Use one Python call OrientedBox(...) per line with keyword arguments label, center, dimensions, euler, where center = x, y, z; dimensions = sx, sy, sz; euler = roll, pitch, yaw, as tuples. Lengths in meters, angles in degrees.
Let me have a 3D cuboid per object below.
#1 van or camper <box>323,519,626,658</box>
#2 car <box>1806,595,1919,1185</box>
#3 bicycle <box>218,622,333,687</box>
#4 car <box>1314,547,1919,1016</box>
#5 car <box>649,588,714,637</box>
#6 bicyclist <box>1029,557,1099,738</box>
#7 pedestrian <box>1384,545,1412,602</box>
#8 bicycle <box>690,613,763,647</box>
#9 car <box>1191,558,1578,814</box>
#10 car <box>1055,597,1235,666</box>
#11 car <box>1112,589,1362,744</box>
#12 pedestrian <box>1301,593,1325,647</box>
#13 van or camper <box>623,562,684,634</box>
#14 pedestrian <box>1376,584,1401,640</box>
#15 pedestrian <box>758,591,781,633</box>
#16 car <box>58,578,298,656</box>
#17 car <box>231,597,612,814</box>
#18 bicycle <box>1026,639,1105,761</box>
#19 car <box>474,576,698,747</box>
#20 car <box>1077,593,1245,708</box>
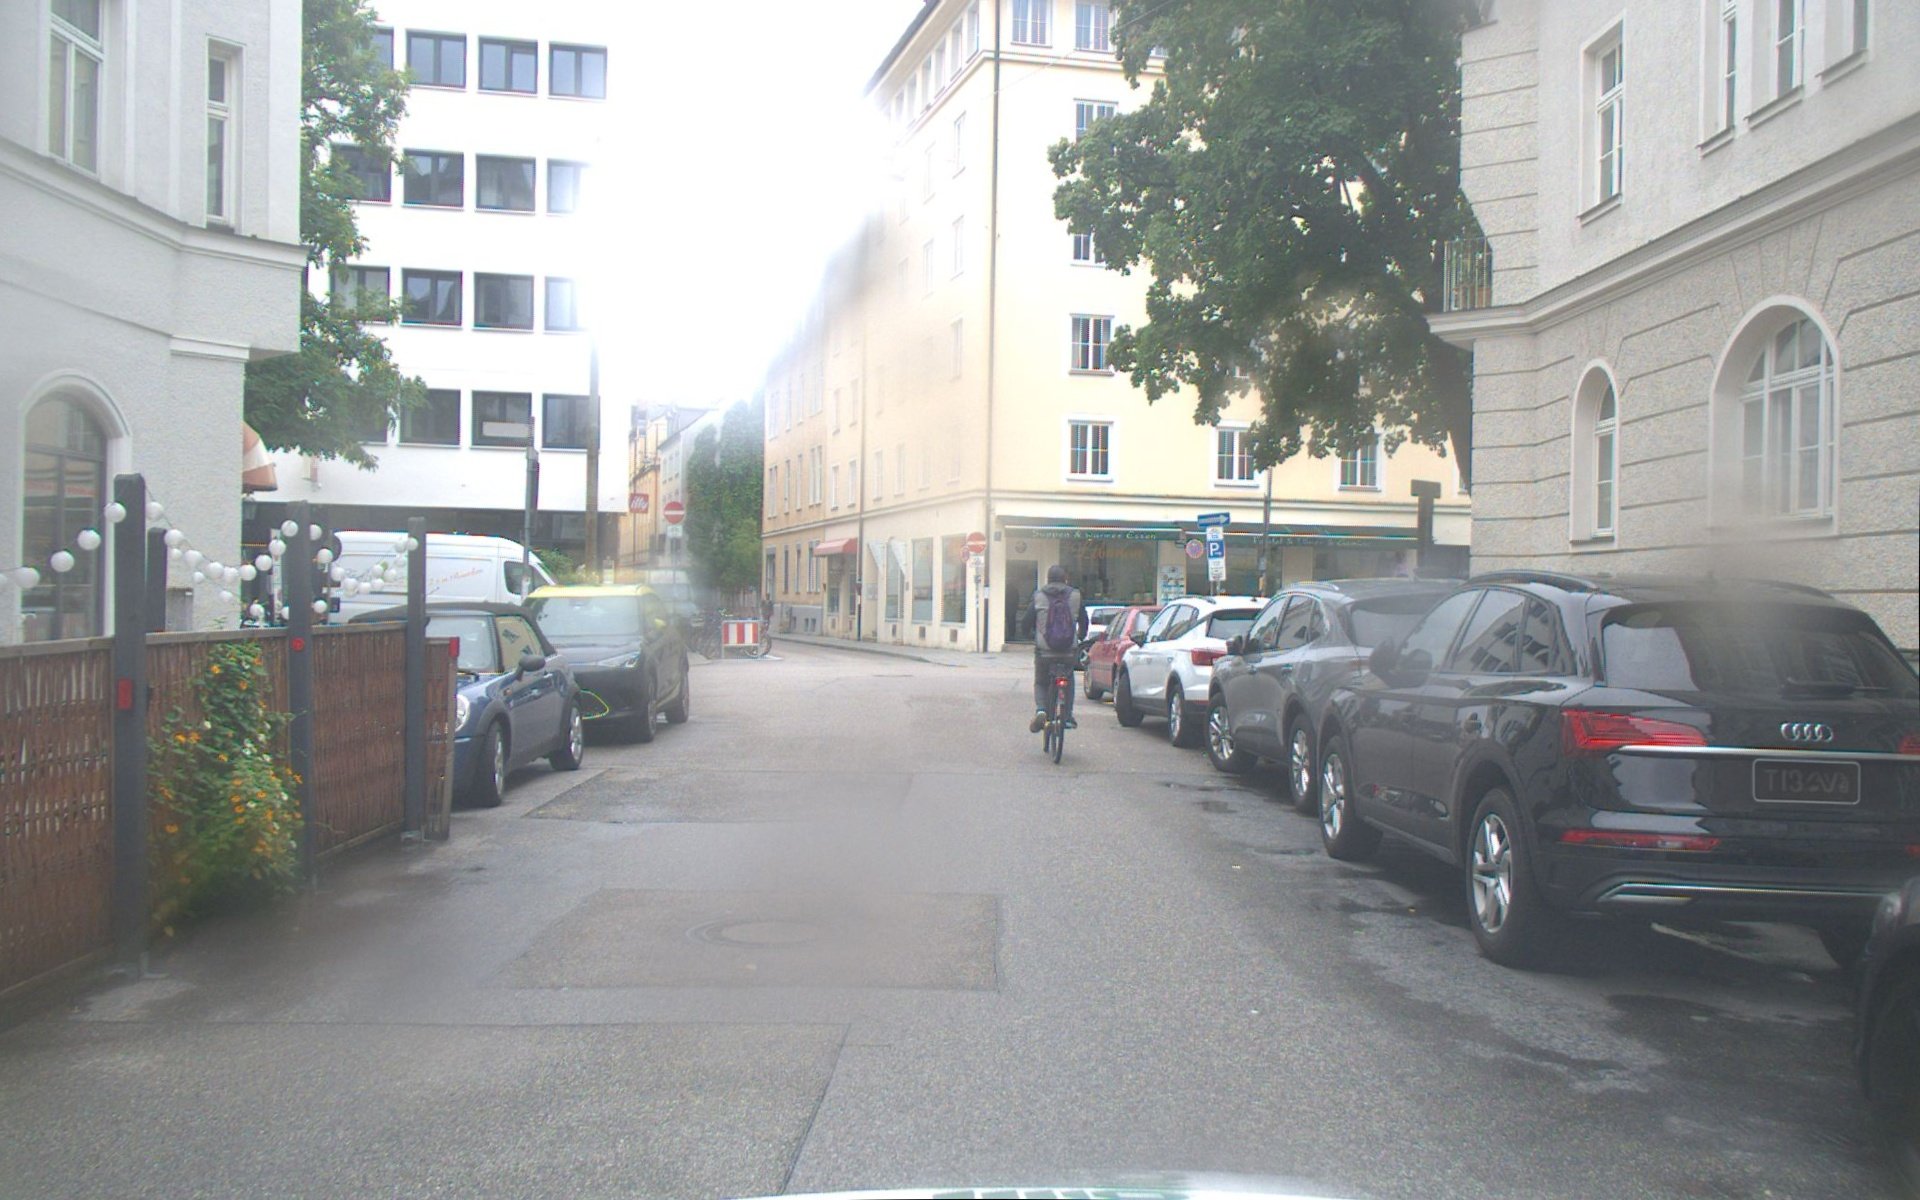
OrientedBox(label="van or camper", center=(-9.863, -0.182, 34.072), dimensions=(5.800, 2.724, 1.867), euler=(0, -2, -12))
OrientedBox(label="car", center=(3.289, 0.765, 2.675), dimensions=(1.671, 1.496, 4.201), euler=(1, 1, 0))
OrientedBox(label="bicycle", center=(-10.581, 0.839, 25.567), dimensions=(1.542, 0.964, 0.890), euler=(2, -2, -29))
OrientedBox(label="car", center=(3.143, 0.654, 8.197), dimensions=(1.741, 1.664, 4.374), euler=(2, 0, -1))
OrientedBox(label="car", center=(-9.323, 0.382, 55.124), dimensions=(1.802, 1.562, 3.984), euler=(0, 0, -15))
OrientedBox(label="bicyclist", center=(0.962, 0.422, 15.370), dimensions=(0.593, 1.634, 0.757), euler=(0, 1, 0))
OrientedBox(label="pedestrian", center=(12.579, -0.768, 47.524), dimensions=(0.542, 1.602, 0.576), euler=(2, 0, -13))
OrientedBox(label="bicycle", center=(-6.326, 0.811, 44.850), dimensions=(1.882, 0.878, 0.615), euler=(0, 0, -20))
OrientedBox(label="car", center=(3.213, 0.577, 13.503), dimensions=(1.754, 1.743, 4.423), euler=(0, 0, -4))
OrientedBox(label="car", center=(4.206, 0.753, 38.022), dimensions=(3.906, 1.441, 1.819), euler=(1, -4, -2))
OrientedBox(label="car", center=(2.928, 0.654, 18.339), dimensions=(1.717, 1.522, 3.904), euler=(1, 0, -6))
OrientedBox(label="pedestrian", center=(9.645, 0.545, 45.180), dimensions=(0.502, 1.458, 0.582), euler=(1, 0, 28))
OrientedBox(label="van or camper", center=(-11.446, -0.077, 61.597), dimensions=(1.959, 2.584, 4.743), euler=(1, 0, -14))
OrientedBox(label="pedestrian", center=(12.149, 0.343, 46.865), dimensions=(0.428, 1.578, 0.529), euler=(1, 0, -31))
OrientedBox(label="pedestrian", center=(-8.339, 0.518, 72.345), dimensions=(0.863, 1.809, 0.770), euler=(1, 0, -15))
OrientedBox(label="car", center=(-15.320, 0.373, 32.632), dimensions=(3.986, 1.454, 1.792), euler=(1, -2, -16))
OrientedBox(label="car", center=(-4.018, 0.702, 13.052), dimensions=(1.672, 1.414, 4.000), euler=(-1, 0, 0))
OrientedBox(label="bicycle", center=(0.956, 0.895, 15.296), dimensions=(0.626, 1.022, 1.574), euler=(0, 0, 0))
OrientedBox(label="car", center=(-3.946, 0.596, 18.044), dimensions=(1.643, 1.625, 3.943), euler=(-1, 0, -2))
OrientedBox(label="car", center=(2.795, 0.653, 23.842), dimensions=(1.636, 1.460, 4.211), euler=(1, 0, -3))
